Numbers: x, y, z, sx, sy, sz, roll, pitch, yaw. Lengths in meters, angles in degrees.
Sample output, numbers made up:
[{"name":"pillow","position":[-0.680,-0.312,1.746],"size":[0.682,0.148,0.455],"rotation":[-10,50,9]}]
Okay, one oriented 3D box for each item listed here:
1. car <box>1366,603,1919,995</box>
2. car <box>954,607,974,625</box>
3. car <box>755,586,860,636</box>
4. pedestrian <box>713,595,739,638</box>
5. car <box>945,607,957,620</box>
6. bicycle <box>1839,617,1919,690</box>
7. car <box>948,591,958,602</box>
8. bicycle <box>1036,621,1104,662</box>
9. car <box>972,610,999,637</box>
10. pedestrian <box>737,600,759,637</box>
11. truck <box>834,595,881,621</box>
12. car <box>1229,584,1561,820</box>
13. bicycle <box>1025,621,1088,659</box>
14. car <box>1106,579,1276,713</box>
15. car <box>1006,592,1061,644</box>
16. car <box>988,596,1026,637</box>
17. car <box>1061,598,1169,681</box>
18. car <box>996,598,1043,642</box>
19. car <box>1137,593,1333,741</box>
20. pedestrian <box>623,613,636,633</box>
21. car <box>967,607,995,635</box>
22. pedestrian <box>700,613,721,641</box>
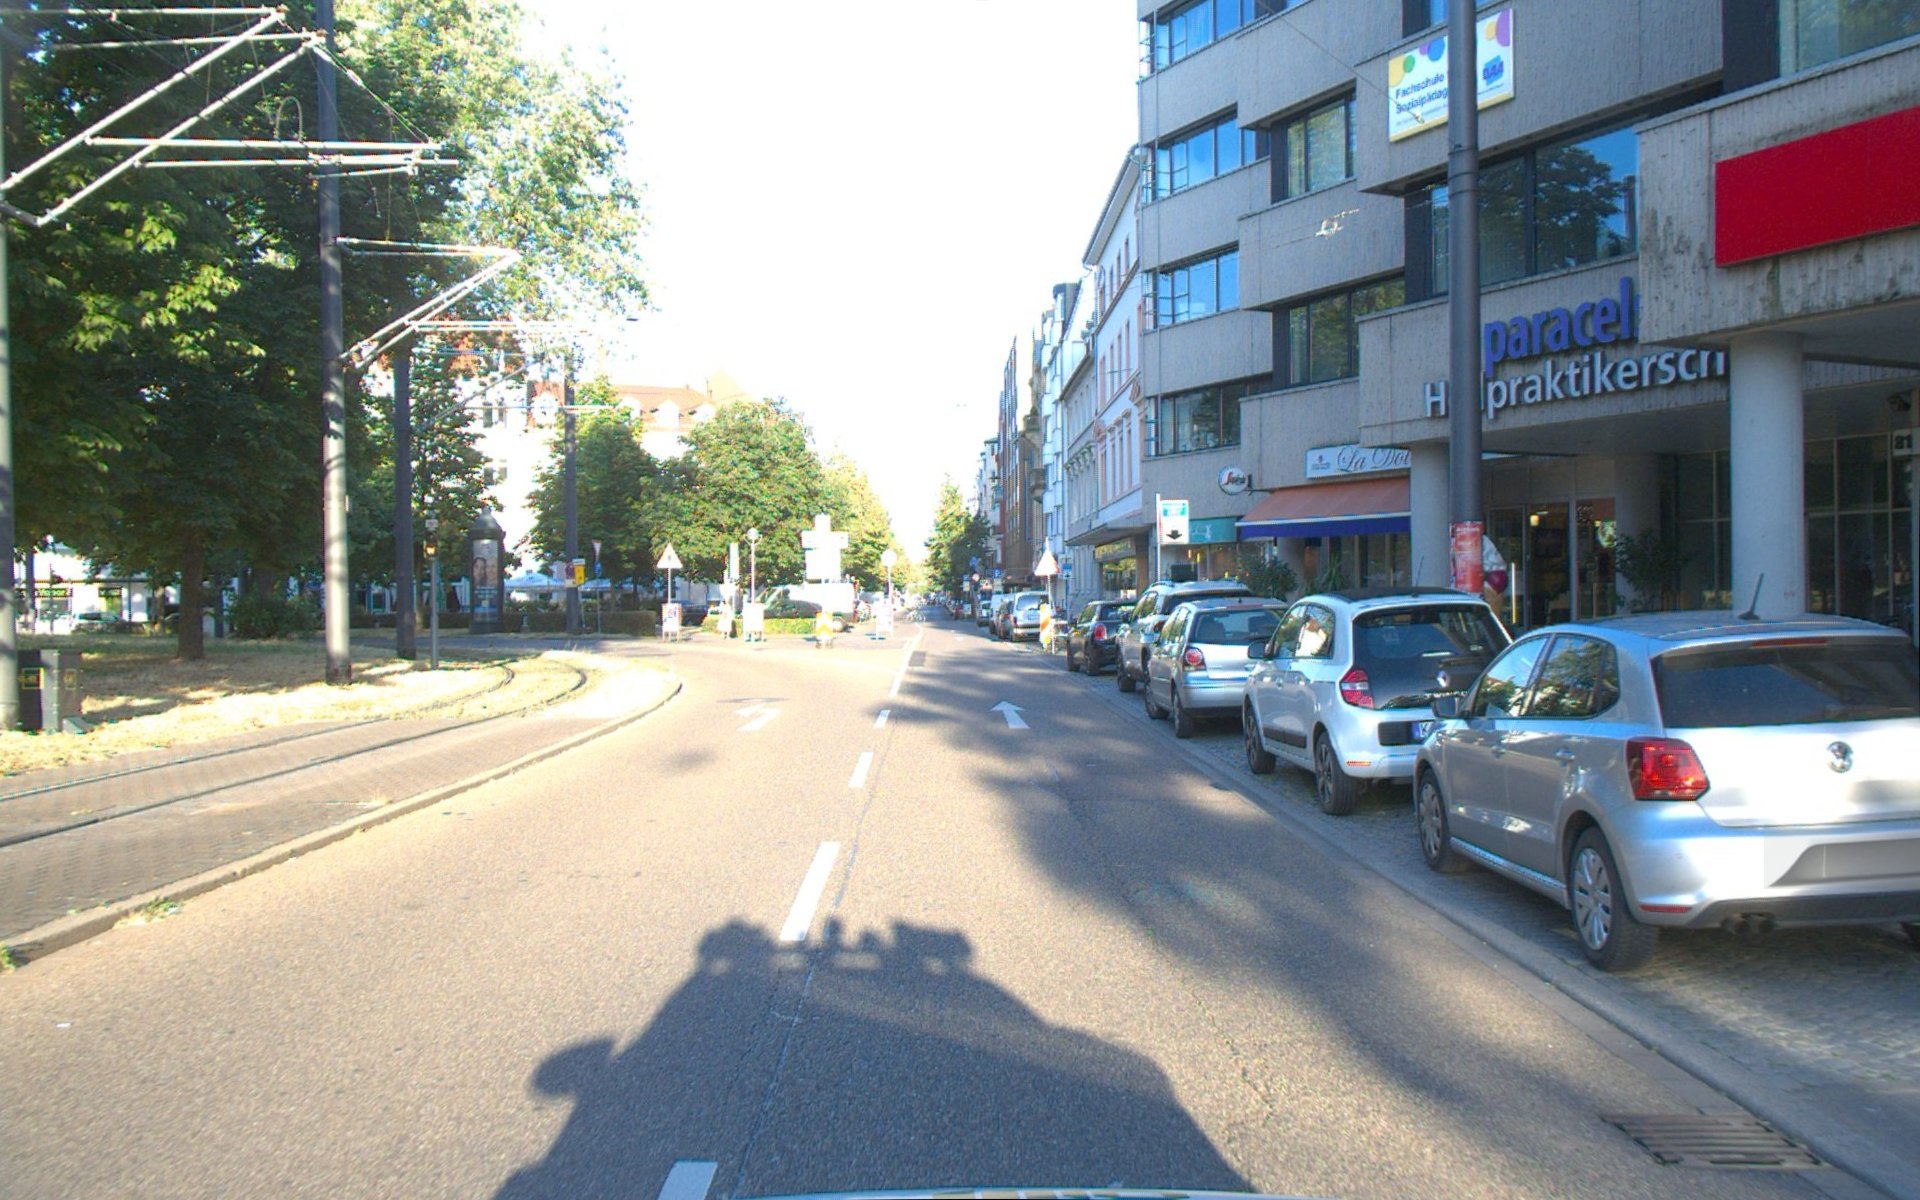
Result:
[{"name":"car","position":[3.401,0.774,8.320],"size":[1.748,1.482,4.000],"rotation":[-1,-1,0]},{"name":"car","position":[0.325,1.498,152.560],"size":[1.545,1.570,3.394],"rotation":[-3,-1,-4]},{"name":"car","position":[-7.251,0.532,78.707],"size":[4.546,2.290,2.183],"rotation":[1,-1,-28]},{"name":"pedestrian","position":[-8.647,0.605,61.153],"size":[0.692,1.586,0.685],"rotation":[1,0,-38]},{"name":"car","position":[-0.999,1.511,184.501],"size":[1.182,1.323,2.658],"rotation":[0,-1,-4]},{"name":"bicycle","position":[11.209,0.632,19.668],"size":[1.367,0.843,0.436],"rotation":[0,0,-11]},{"name":"car","position":[-1.103,-0.526,253.824],"size":[1.283,1.628,2.659],"rotation":[0,0,-4]},{"name":"bicycle","position":[3.043,1.134,45.654],"size":[1.750,1.007,0.542],"rotation":[-3,1,10]},{"name":"car","position":[1.633,1.475,105.550],"size":[1.646,1.588,4.001],"rotation":[-2,0,1]},{"name":"pedestrian","position":[-7.880,0.688,61.436],"size":[0.558,1.388,0.606],"rotation":[1,0,-38]},{"name":"truck","position":[-10.821,0.831,174.943],"size":[4.841,2.661,1.999],"rotation":[-1,-1,-2]},{"name":"car","position":[3.310,0.710,13.267],"size":[1.553,1.618,3.666],"rotation":[1,0,-3]},{"name":"bicycle","position":[2.889,1.197,49.508],"size":[1.751,1.007,0.542],"rotation":[-3,1,22]},{"name":"car","position":[3.364,0.633,24.881],"size":[1.748,1.836,4.399],"rotation":[0,0,-3]},{"name":"car","position":[2.679,0.659,61.253],"size":[1.756,1.823,4.091],"rotation":[-1,-1,-1]},{"name":"car","position":[2.214,0.772,79.383],"size":[1.675,1.867,4.305],"rotation":[0,0,0]},{"name":"car","position":[3.007,0.734,32.699],"size":[1.753,1.534,3.920],"rotation":[0,0,0]},{"name":"car","position":[2.375,0.795,66.500],"size":[1.623,1.694,4.106],"rotation":[0,0,-2]},{"name":"car","position":[3.124,0.715,19.501],"size":[1.607,1.555,3.999],"rotation":[0,0,-1]},{"name":"pedestrian","position":[-19.466,1.356,97.409],"size":[0.567,1.192,0.535],"rotation":[0,-1,6]},{"name":"car","position":[1.369,1.398,110.624],"size":[1.662,1.800,3.998],"rotation":[-1,0,-2]},{"name":"pedestrian","position":[-11.880,1.294,78.757],"size":[0.741,1.300,0.652],"rotation":[1,0,-38]}]
